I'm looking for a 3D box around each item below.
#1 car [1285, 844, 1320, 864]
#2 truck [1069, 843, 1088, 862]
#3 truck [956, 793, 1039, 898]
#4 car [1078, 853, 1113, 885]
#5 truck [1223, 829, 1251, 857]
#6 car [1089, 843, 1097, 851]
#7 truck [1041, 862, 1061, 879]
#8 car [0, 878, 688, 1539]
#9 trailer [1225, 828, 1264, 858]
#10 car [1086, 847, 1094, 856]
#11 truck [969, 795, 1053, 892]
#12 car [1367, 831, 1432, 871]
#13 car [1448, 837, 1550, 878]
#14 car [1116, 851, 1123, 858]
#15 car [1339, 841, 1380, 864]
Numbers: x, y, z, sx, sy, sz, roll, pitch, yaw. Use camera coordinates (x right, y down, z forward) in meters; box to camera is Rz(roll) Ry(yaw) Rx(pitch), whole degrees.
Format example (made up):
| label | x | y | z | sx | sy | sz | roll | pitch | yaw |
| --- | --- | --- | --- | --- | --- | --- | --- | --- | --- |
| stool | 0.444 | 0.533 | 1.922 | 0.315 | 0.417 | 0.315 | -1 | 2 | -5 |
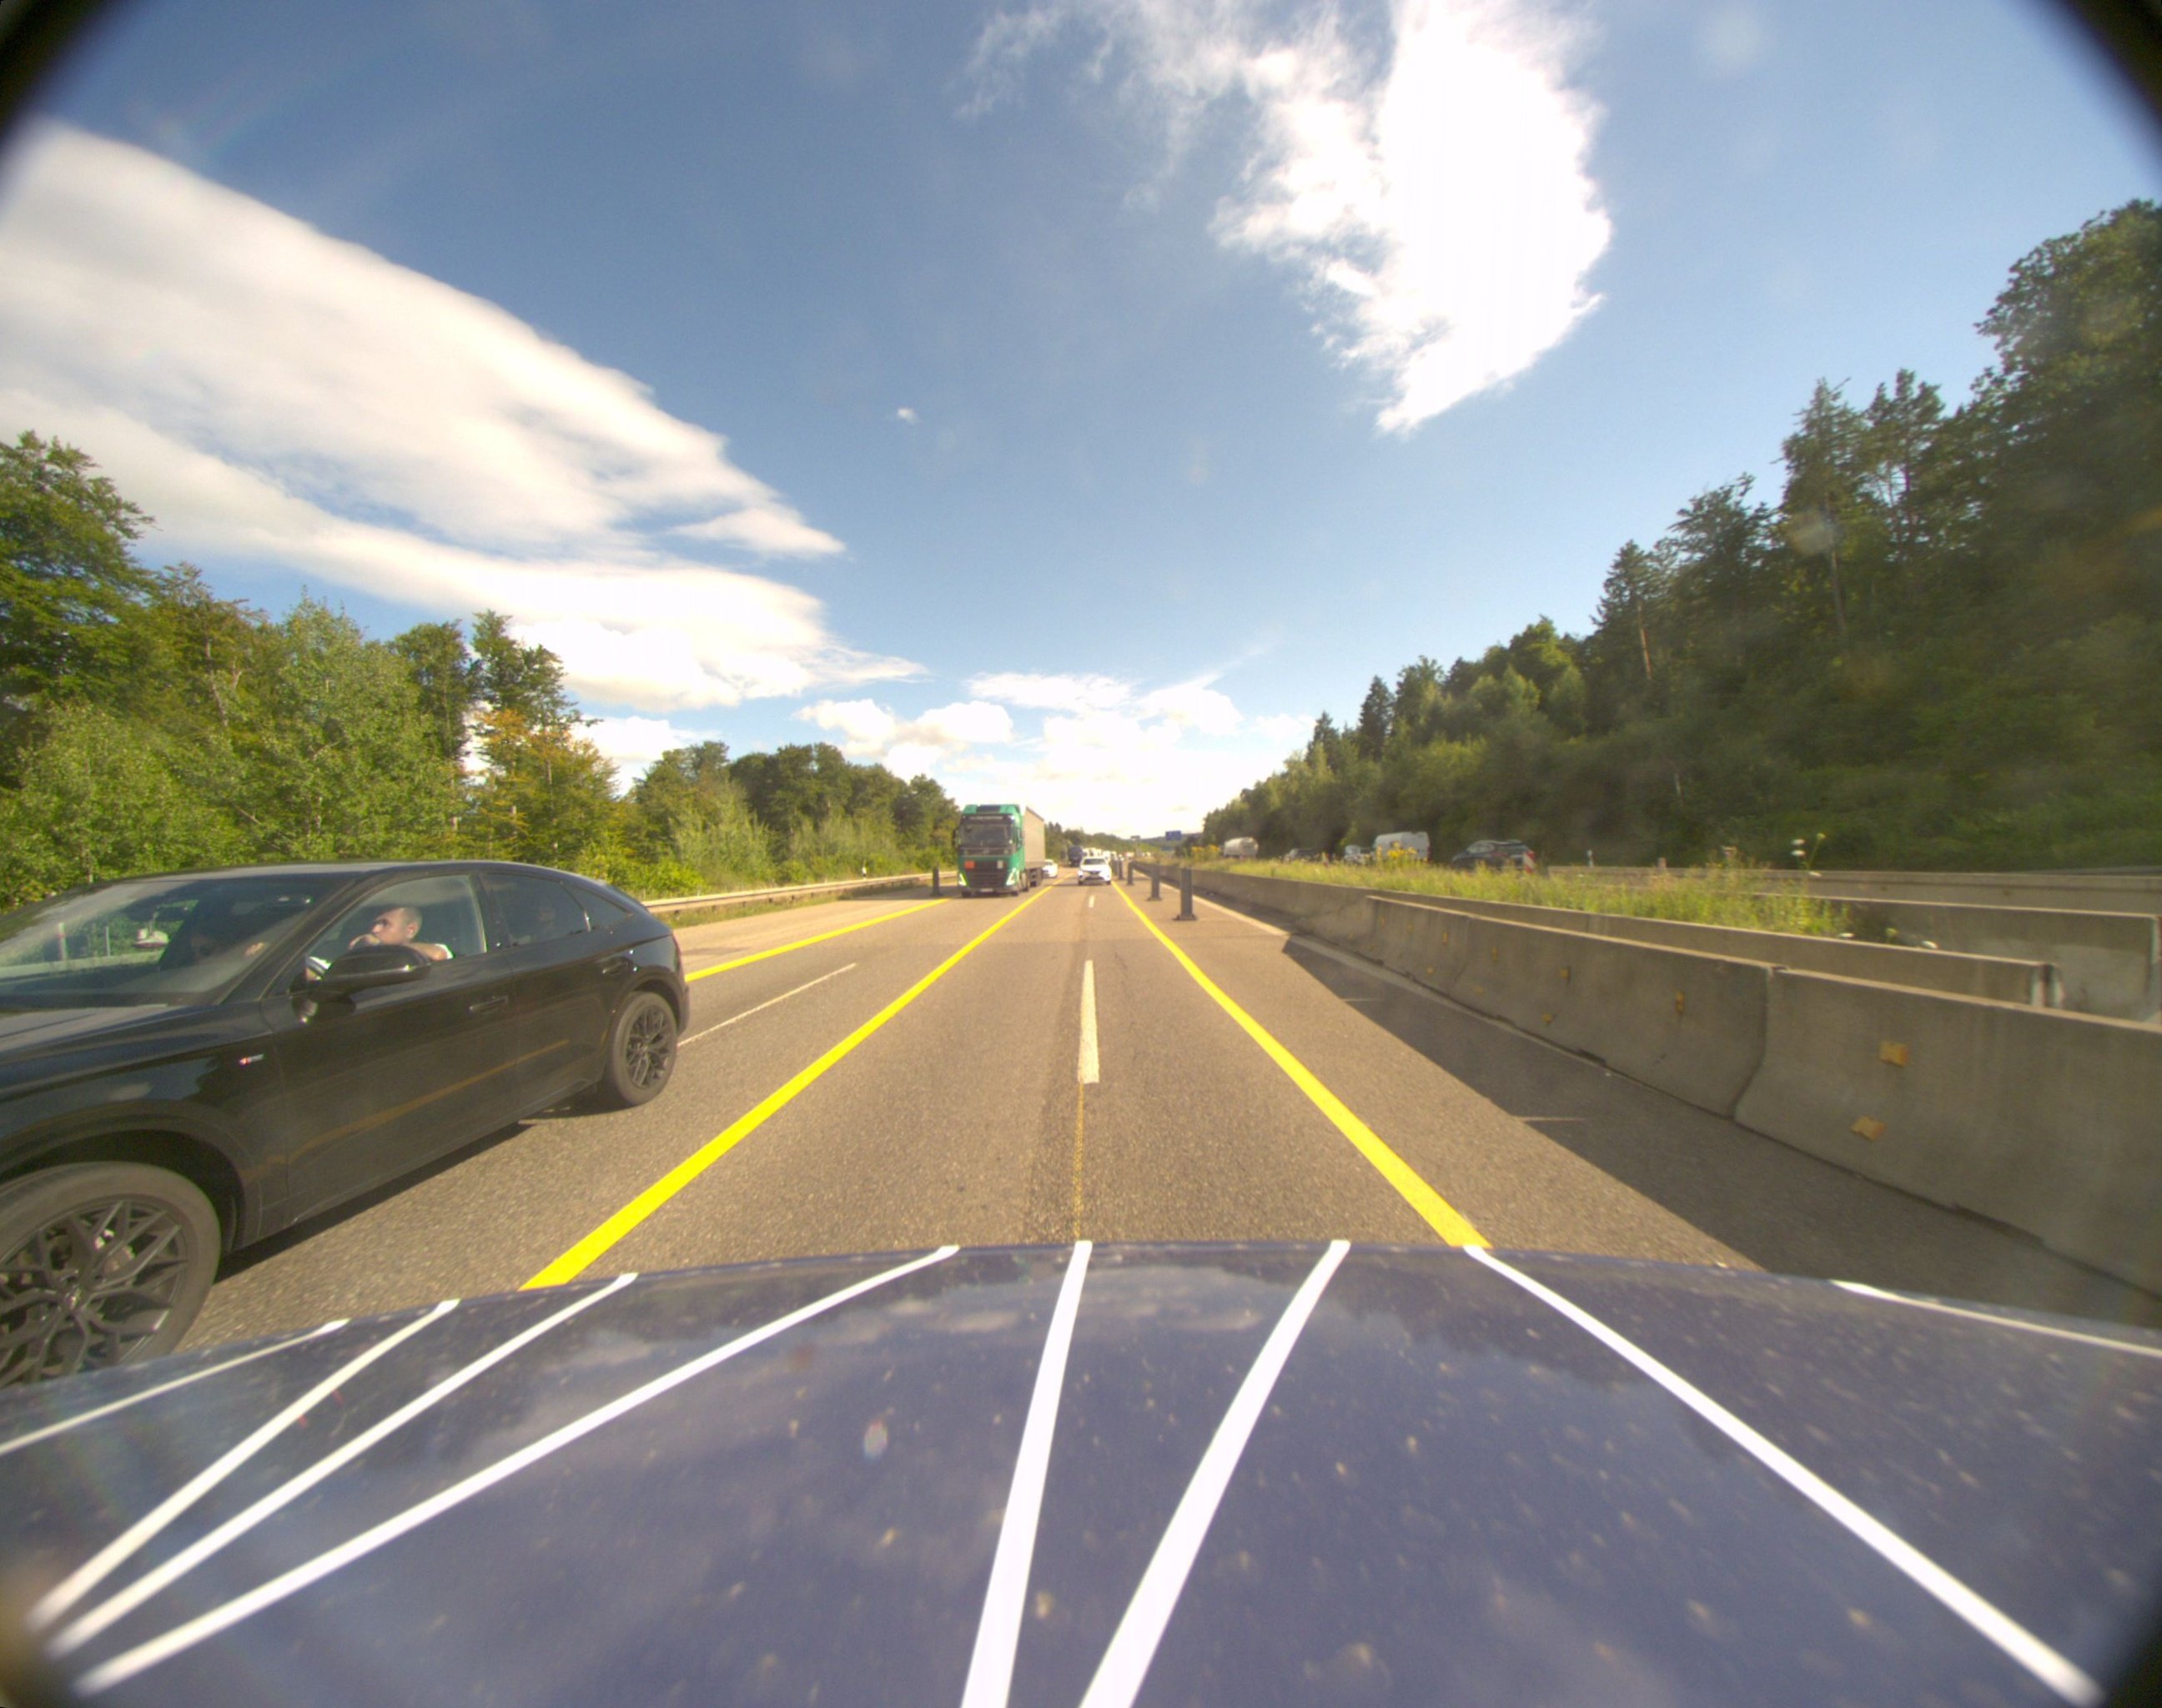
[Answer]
| label | x | y | z | sx | sy | sz | roll | pitch | yaw |
| --- | --- | --- | --- | --- | --- | --- | --- | --- | --- |
| car | 18.496 | -0.019 | 63.575 | 1.782 | 1.593 | 4.018 | -2 | 0 | 2 |
| truck | -0.400 | -0.264 | 133.314 | 2.576 | 3.167 | 6.803 | -2 | 1 | 4 |
| truck | -3.494 | -0.376 | 33.538 | 2.527 | 4.075 | 6.856 | -2 | 1 | 2 |
| car | 0.813 | 0.780 | 41.872 | 1.782 | 1.593 | 4.018 | -2 | 0 | 2 |
| truck | 20.737 | -1.431 | 101.415 | 2.791 | 3.469 | 4.939 | -2 | 1 | 2 |
| car | 3.015 | -1.667 | 187.883 | 1.750 | 1.787 | 4.000 | -2 | 1 | 2 |
| truck | -2.391 | 1.286 | 61.268 | 1.468 | 1.215 | 3.087 | -2 | 0 | 0 |
| car | -3.720 | 1.015 | 3.202 | 1.782 | 1.593 | 4.293 | -2 | 0 | 1 |
| trailer | 20.541 | -1.366 | 96.319 | 2.809 | 3.469 | 11.113 | -2 | 0 | 2 |
| car | 1.972 | -0.595 | 164.198 | 1.750 | 1.787 | 4.000 | -2 | 1 | 2 |
| truck | -3.295 | -0.408 | 39.992 | 2.470 | 4.119 | 14.212 | -2 | 0 | 2 |
| car | 22.824 | -0.218 | 54.791 | 2.033 | 2.669 | 6.523 | -2 | 1 | 2 |
| car | 17.915 | 0.131 | 32.850 | 1.963 | 1.579 | 4.482 | -2 | 0 | 1 |
| car | 11.590 | 0.085 | 227.846 | 1.998 | 2.002 | 4.001 | -2 | 1 | 4 |
| car | 23.776 | -0.121 | 64.982 | 1.865 | 1.843 | 4.762 | -2 | 0 | 2 |
